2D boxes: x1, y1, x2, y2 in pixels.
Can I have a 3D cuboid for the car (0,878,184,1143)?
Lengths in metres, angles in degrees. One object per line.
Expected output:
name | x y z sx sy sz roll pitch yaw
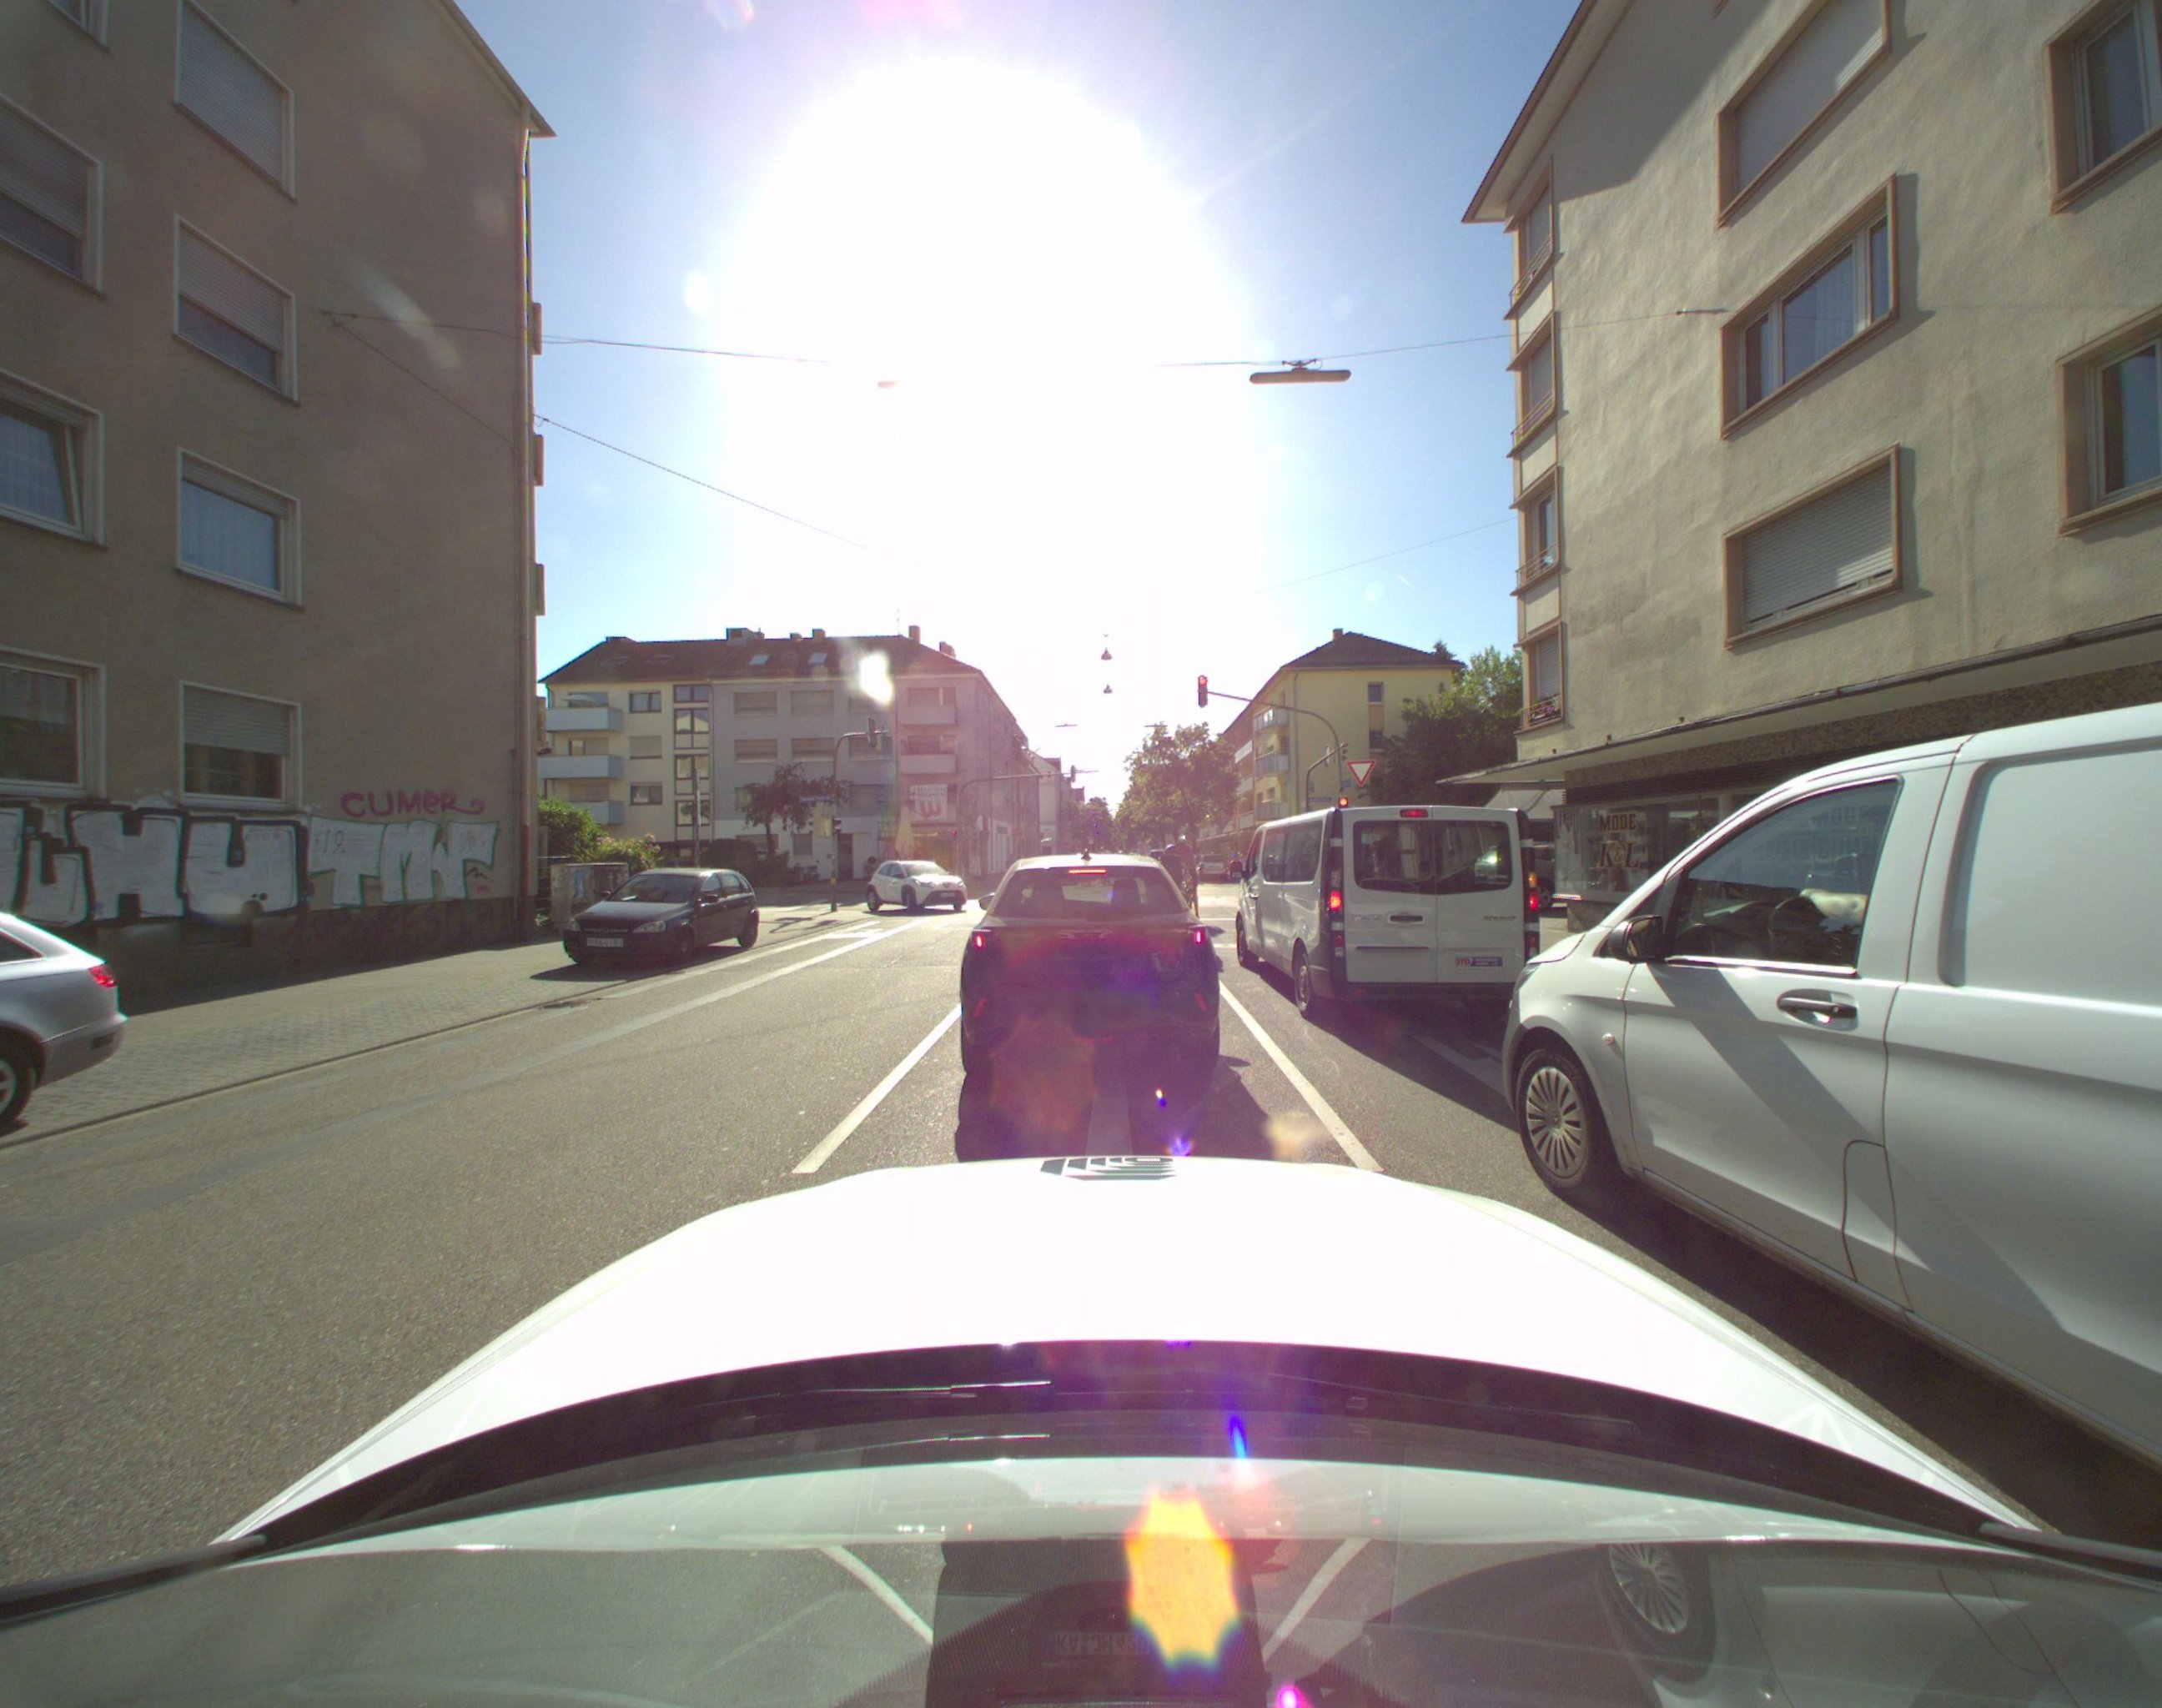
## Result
car | -7.112 0.910 3.198 1.711 1.465 4.817 1 0 2

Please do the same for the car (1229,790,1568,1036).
car | 3.048 0.484 9.122 1.986 1.979 4.897 1 0 1

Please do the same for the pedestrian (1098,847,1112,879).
pedestrian | 1.303 0.466 44.253 0.704 1.701 0.802 -1 0 0

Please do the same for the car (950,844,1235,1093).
car | 0.081 0.717 7.128 1.765 1.530 4.000 -1 0 0

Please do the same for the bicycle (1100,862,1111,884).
bicycle | 1.312 0.999 44.484 0.520 1.147 2.170 -1 0 0

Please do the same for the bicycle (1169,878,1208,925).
bicycle | 2.384 1.028 18.279 0.575 0.904 2.301 -1 0 0

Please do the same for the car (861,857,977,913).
car | -4.929 0.886 24.529 1.780 1.536 3.741 -1 0 -41

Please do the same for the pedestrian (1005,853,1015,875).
pedestrian | -4.899 0.691 56.455 0.615 1.521 0.724 -1 0 -1

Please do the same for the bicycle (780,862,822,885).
bicycle | -15.101 1.056 43.858 2.103 1.172 0.735 -1 0 -22

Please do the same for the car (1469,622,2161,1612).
car | 2.950 0.484 1.819 1.830 1.869 4.997 -1 0 1

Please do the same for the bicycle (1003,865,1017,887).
bicycle | -3.888 1.203 44.782 0.520 1.147 2.283 -1 0 0

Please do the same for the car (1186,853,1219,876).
car | 7.795 0.650 52.541 1.628 1.433 4.002 -1 0 2

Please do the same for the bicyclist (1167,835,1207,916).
bicyclist | 2.354 0.459 18.183 0.687 1.712 1.414 -1 0 0

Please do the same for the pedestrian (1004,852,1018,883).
pedestrian | -3.823 0.751 44.536 0.704 1.678 0.802 -1 0 0

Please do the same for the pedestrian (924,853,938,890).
pedestrian | -7.189 0.835 39.054 0.560 1.775 0.582 -1 0 -7

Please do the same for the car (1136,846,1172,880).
car | 4.064 0.479 45.643 1.893 1.728 4.078 -1 0 4

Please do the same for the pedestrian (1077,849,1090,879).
pedestrian | 0.147 0.558 44.411 0.678 1.606 0.762 -1 0 0

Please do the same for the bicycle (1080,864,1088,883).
bicycle | 0.172 1.064 44.549 0.442 0.992 2.069 -1 0 0

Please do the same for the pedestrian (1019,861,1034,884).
pedestrian | -2.981 1.010 44.511 0.704 1.253 0.802 -1 0 0

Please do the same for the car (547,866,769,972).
car | -6.719 0.947 13.413 1.610 1.425 3.711 1 0 1

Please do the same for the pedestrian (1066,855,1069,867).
pedestrian | -1.905 0.981 113.160 0.400 1.675 0.418 -1 0 2

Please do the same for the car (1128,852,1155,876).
car | 4.511 0.751 61.314 1.894 1.728 4.003 -1 0 3

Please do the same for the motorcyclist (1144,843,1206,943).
motorcyclist | 1.472 0.592 12.950 0.861 1.502 1.160 -1 0 1

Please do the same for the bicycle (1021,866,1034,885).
bicycle | -2.925 1.187 44.765 0.520 0.992 2.339 -1 0 0

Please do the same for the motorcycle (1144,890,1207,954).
motorcycle | 1.461 1.045 12.966 0.822 0.845 1.885 -1 0 1

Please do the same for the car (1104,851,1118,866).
car | 4.101 0.614 111.218 1.848 2.013 3.882 -1 0 2

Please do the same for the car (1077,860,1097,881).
car | 0.626 1.592 81.085 1.842 2.013 4.001 -1 0 1

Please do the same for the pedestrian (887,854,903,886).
pedestrian | -8.778 0.756 38.503 0.582 1.521 0.649 -1 0 -1

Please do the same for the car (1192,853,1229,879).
car | 7.548 0.668 47.782 1.628 1.433 3.958 -1 0 2
